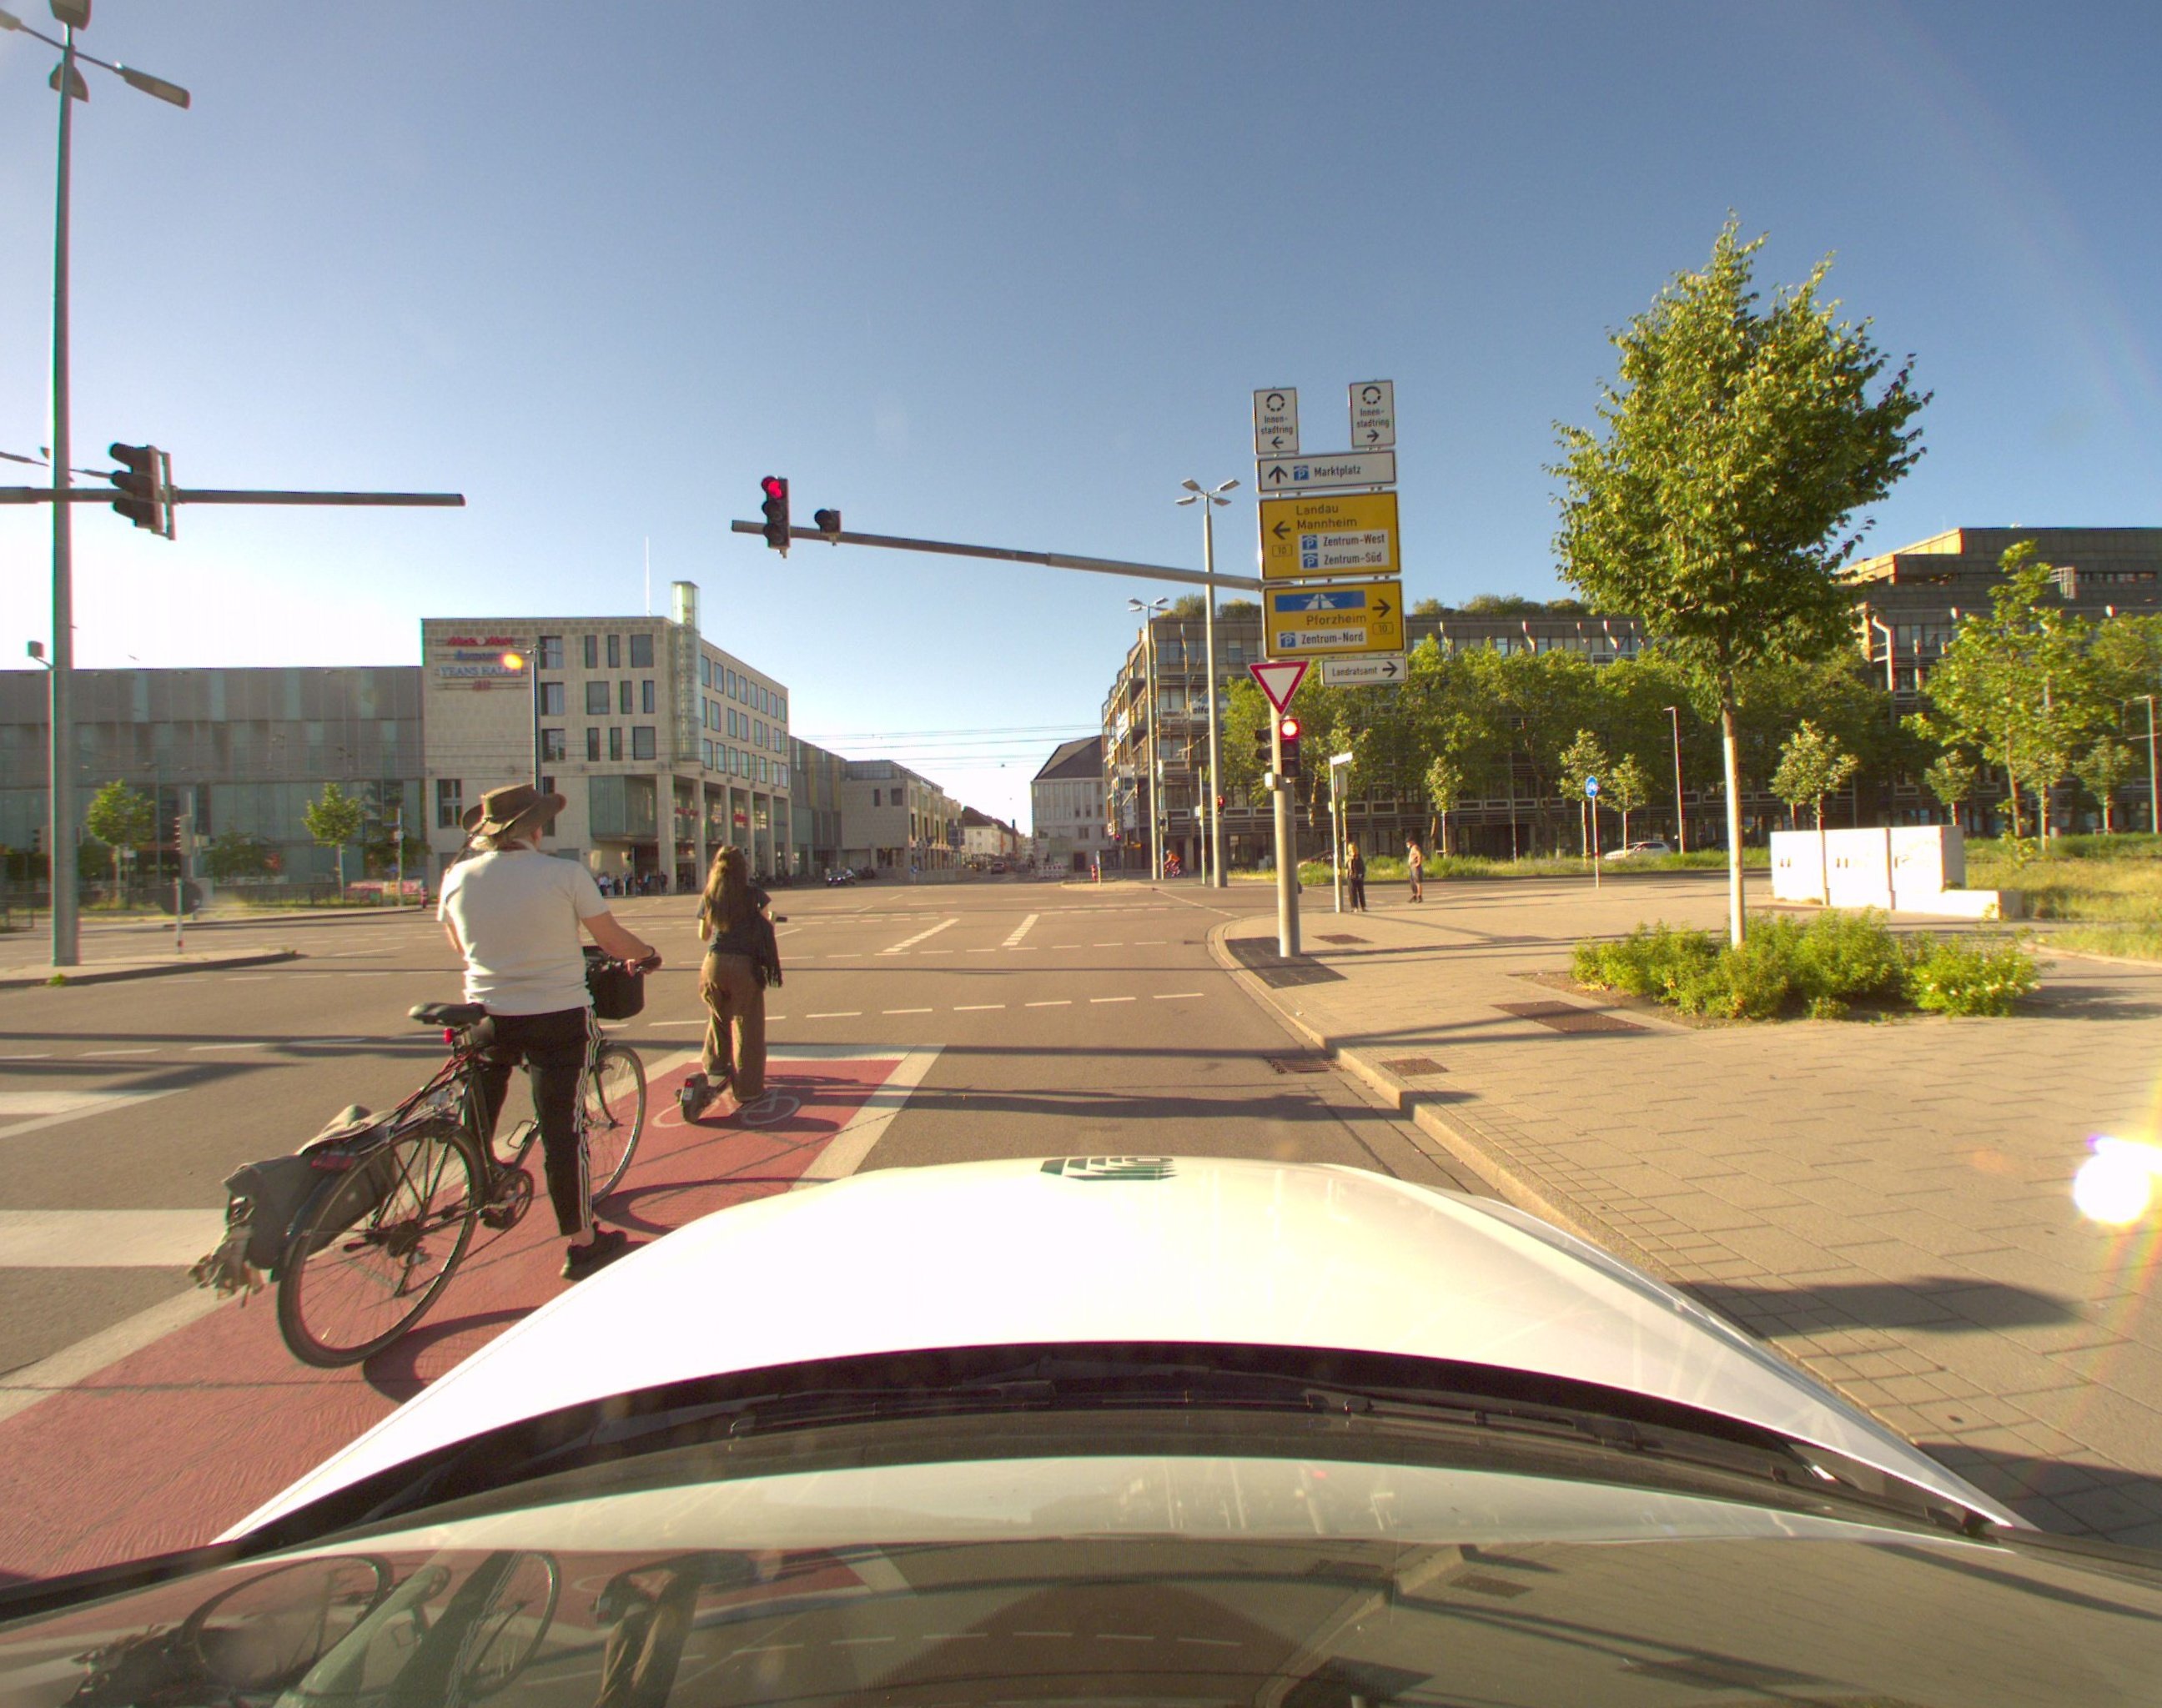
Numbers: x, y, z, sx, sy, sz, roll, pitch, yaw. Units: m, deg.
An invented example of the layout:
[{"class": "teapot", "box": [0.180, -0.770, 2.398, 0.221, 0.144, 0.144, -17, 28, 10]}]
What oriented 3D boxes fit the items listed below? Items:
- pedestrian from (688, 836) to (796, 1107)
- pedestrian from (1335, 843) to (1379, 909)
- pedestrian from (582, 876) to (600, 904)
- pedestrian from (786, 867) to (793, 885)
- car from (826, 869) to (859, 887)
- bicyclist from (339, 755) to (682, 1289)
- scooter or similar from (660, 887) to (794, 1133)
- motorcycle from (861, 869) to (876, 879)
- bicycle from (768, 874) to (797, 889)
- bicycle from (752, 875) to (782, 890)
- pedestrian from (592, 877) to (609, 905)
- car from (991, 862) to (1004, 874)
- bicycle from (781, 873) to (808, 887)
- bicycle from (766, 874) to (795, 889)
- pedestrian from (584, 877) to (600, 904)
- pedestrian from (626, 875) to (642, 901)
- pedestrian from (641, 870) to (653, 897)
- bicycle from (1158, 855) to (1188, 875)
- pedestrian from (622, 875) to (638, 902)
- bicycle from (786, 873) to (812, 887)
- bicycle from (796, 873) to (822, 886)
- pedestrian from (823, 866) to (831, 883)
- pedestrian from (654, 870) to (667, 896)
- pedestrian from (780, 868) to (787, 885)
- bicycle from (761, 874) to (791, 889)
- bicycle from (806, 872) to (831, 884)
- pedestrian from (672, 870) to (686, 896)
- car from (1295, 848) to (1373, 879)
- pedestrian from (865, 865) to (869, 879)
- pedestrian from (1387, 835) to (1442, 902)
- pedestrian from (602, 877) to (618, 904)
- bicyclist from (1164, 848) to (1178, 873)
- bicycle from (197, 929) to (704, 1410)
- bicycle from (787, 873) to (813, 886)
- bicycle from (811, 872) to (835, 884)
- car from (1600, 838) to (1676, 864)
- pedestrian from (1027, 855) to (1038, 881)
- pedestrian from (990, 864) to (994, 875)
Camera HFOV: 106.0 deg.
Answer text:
[{"class": "pedestrian", "box": [-2.161, 0.707, 5.248, 0.549, 1.633, 0.569, 0, -1, -13]}, {"class": "pedestrian", "box": [6.310, 0.500, 18.660, 0.785, 1.492, 0.644, 0, -1, 1]}, {"class": "pedestrian", "box": [-35.808, 2.649, 59.501, 0.883, 2.014, 0.771, 0, -1, -9]}, {"class": "pedestrian", "box": [-29.128, 2.195, 81.443, 0.553, 1.679, 0.606, 0, 0, -8]}, {"class": "car", "box": [-20.626, 2.045, 70.512, 1.625, 1.342, 3.999, -4, -1, 0]}, {"class": "bicyclist", "box": [-2.055, 0.545, 3.066, 0.658, 1.720, 0.866, 0, -1, 1]}, {"class": "scooter or similar", "box": [-2.155, 0.872, 5.080, 0.547, 1.294, 1.188, 0, -1, -13]}, {"class": "motorcycle", "box": [-25.784, 2.422, 98.743, 1.807, 1.206, 0.509, 0, 0, -14]}, {"class": "bicycle", "box": [-26.741, 2.430, 72.901, 2.299, 1.222, 0.612, -2, 0, -1]}, {"class": "bicycle", "box": [-26.735, 2.402, 69.379, 2.299, 1.222, 0.612, -2, 0, -1]}, {"class": "pedestrian", "box": [-33.869, 2.608, 57.377, 0.783, 1.885, 0.716, 0, -1, -4]}, {"class": "car", "box": [-11.140, 1.849, 108.660, 1.735, 1.531, 3.848, 0, -1, -5]}, {"class": "bicycle", "box": [-26.698, 2.455, 75.968, 2.299, 1.222, 0.612, -2, 0, -1]}, {"class": "bicycle", "box": [-26.566, 2.422, 72.016, 2.299, 1.222, 0.612, -2, 0, -1]}, {"class": "pedestrian", "box": [-35.048, 2.592, 58.376, 0.783, 1.885, 0.716, 0, -1, -4]}, {"class": "pedestrian", "box": [-32.513, 2.463, 59.248, 0.783, 1.885, 0.716, 0, -1, -4]}, {"class": "pedestrian", "box": [-31.049, 2.106, 58.301, 0.718, 1.885, 0.781, 0, -1, -25]}, {"class": "bicycle", "box": [5.271, 0.630, 46.500, 1.643, 1.154, 0.496, 0, -1, -8]}, {"class": "pedestrian", "box": [-31.947, 2.446, 57.696, 0.783, 1.885, 0.716, 0, -1, -4]}, {"class": "bicycle", "box": [-27.064, 2.476, 78.136, 2.299, 1.222, 0.612, -2, 0, -1]}, {"class": "bicycle", "box": [-27.186, 2.503, 81.348, 2.299, 1.222, 0.612, -2, 0, -1]}, {"class": "pedestrian", "box": [-25.184, 2.046, 80.771, 0.650, 1.719, 0.447, -2, 0, -22]}, {"class": "pedestrian", "box": [-30.793, 2.113, 59.670, 0.800, 1.843, 0.856, -2, 0, -26]}, {"class": "pedestrian", "box": [-29.731, 2.220, 81.357, 0.570, 1.679, 0.614, 0, 0, -8]}, {"class": "bicycle", "box": [-26.463, 2.410, 70.656, 2.299, 1.222, 0.612, -2, 0, -1]}, {"class": "bicycle", "box": [-27.589, 2.540, 85.586, 2.299, 1.222, 0.612, -2, 0, -1]}, {"class": "pedestrian", "box": [-29.106, 2.061, 58.944, 0.801, 1.843, 0.855, -2, 0, -30]}, {"class": "car", "box": [14.291, 0.513, 46.106, 3.880, 1.585, 1.656, -2, -1, -6]}, {"class": "pedestrian", "box": [-26.104, 2.183, 99.360, 0.521, 1.679, 0.580, 0, 0, -12]}, {"class": "pedestrian", "box": [8.603, 0.370, 21.024, 0.881, 1.665, 0.958, 0, -1, -19]}, {"class": "pedestrian", "box": [-33.964, 2.620, 58.769, 0.714, 1.885, 0.786, 0, -1, -6]}, {"class": "bicyclist", "box": [5.153, 0.379, 46.489, 0.710, 1.437, 0.496, 0, -1, -7]}, {"class": "bicycle", "box": [-2.147, 0.945, 3.143, 0.483, 1.156, 1.832, 0, -1, 2]}, {"class": "bicycle", "box": [-27.630, 2.496, 80.131, 2.299, 1.222, 0.612, -2, 0, -1]}, {"class": "bicycle", "box": [-27.425, 2.548, 86.651, 2.299, 1.222, 0.612, -2, 0, -1]}, {"class": "car", "box": [35.833, -0.197, 52.436, 3.892, 1.585, 1.656, 0, -1, -5]}, {"class": "pedestrian", "box": [-3.631, 1.035, 61.102, 0.637, 1.890, 0.794, -1, -1, 16]}, {"class": "pedestrian", "box": [-12.836, 2.230, 117.661, 0.520, 1.679, 0.582, 0, 0, -5]}]
